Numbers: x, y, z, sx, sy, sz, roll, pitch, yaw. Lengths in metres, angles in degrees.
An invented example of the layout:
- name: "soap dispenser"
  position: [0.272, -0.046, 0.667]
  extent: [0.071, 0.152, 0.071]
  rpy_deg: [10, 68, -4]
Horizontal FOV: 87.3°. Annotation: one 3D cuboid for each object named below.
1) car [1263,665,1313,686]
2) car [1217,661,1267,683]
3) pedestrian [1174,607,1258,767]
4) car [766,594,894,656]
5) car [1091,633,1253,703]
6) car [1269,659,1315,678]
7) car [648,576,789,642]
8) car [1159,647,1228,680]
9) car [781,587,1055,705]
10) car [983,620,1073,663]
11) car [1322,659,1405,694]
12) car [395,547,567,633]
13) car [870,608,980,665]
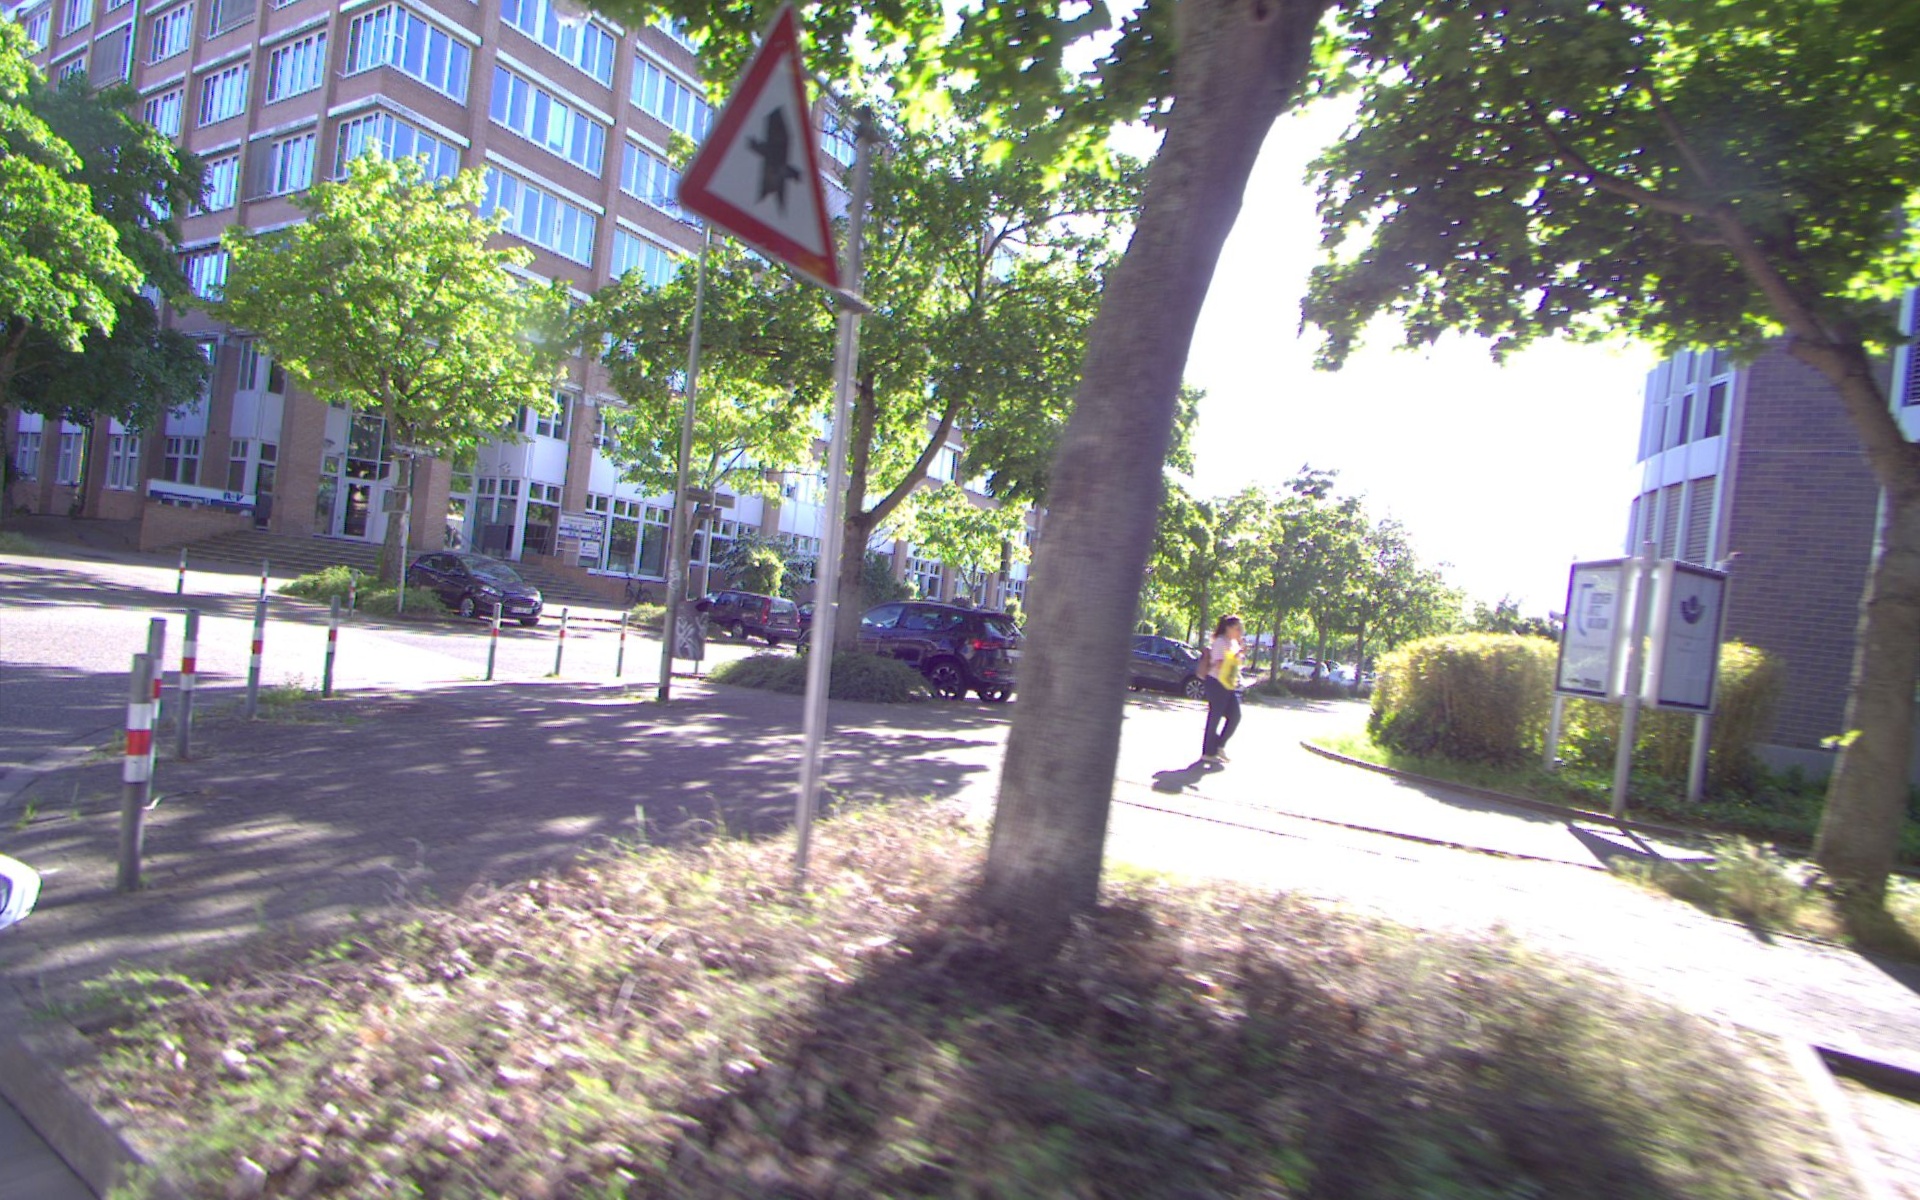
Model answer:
- name: "car"
  position: [29.330, 6.747, 89.993]
  extent: [3.845, 1.259, 1.533]
  rpy_deg: [7, 0, 32]
- name: "car"
  position: [23.375, 5.960, 83.426]
  extent: [3.569, 1.259, 1.419]
  rpy_deg: [9, 1, 32]
- name: "pedestrian"
  position: [2.755, 0.925, 10.815]
  extent: [0.636, 1.601, 0.539]
  rpy_deg: [7, 0, 22]
- name: "car"
  position: [-4.361, 0.843, 33.627]
  extent: [3.931, 1.384, 1.626]
  rpy_deg: [9, -1, 29]
- name: "car"
  position: [5.790, 1.848, 27.646]
  extent: [3.942, 1.603, 1.699]
  rpy_deg: [2, -4, 38]
- name: "car"
  position: [31.808, 6.584, 96.485]
  extent: [3.843, 1.259, 1.534]
  rpy_deg: [7, 0, 31]
- name: "car"
  position: [-7.332, 0.253, 30.429]
  extent: [4.205, 1.479, 1.690]
  rpy_deg: [6, -1, 35]
- name: "car"
  position: [15.037, 4.094, 64.819]
  extent: [3.844, 1.520, 1.533]
  rpy_deg: [9, 1, 32]
- name: "car"
  position: [-0.753, 0.772, 17.173]
  extent: [4.292, 1.583, 1.742]
  rpy_deg: [4, -3, 29]
- name: "car"
  position: [3.213, 1.950, 47.539]
  extent: [3.845, 1.520, 1.533]
  rpy_deg: [6, 0, 32]
- name: "car"
  position: [21.587, 4.090, 53.894]
  extent: [3.844, 1.461, 1.534]
  rpy_deg: [5, -1, 30]
- name: "car"
  position: [-11.091, -0.251, 23.221]
  extent: [3.852, 1.480, 1.654]
  rpy_deg: [7, 0, 32]
- name: "car"
  position: [-1.386, 1.429, 39.385]
  extent: [3.933, 1.583, 1.624]
  rpy_deg: [9, 1, 32]
